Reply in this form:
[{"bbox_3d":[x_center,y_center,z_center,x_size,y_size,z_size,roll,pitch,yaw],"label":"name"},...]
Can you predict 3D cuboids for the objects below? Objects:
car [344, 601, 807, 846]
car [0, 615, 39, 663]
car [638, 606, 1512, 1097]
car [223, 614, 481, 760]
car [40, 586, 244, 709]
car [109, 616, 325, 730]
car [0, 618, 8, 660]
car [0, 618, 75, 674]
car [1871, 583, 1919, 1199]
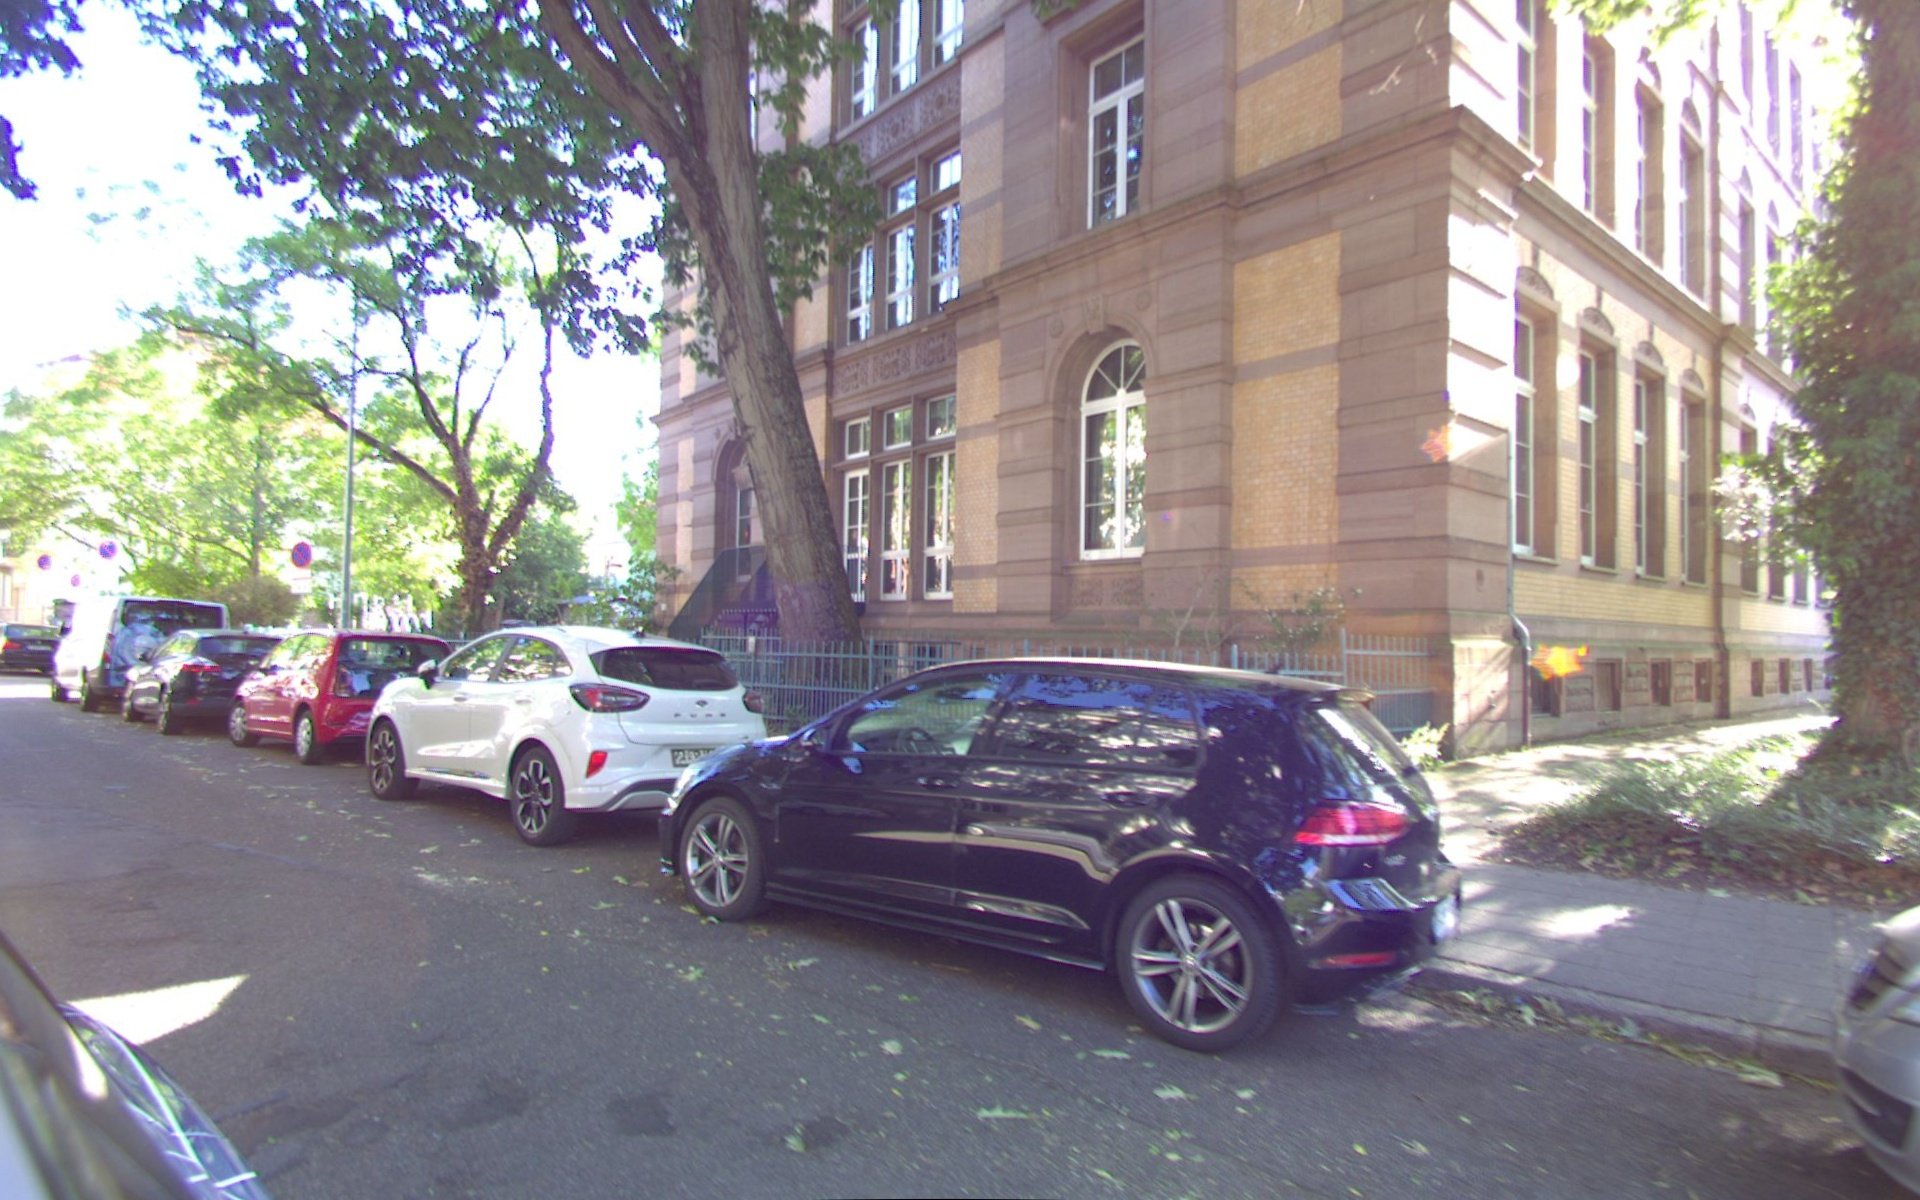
[{"bbox_3d":[-3.308,0.882,8.381,3.997,1.545,1.770,-1,-6,40],"label":"car"},{"bbox_3d":[-30.874,1.212,32.287,3.998,1.484,1.732,-1,-1,41],"label":"car"},{"bbox_3d":[0.381,0.875,5.017,3.991,1.475,1.567,1,-5,35],"label":"car"},{"bbox_3d":[-7.245,0.952,11.969,3.309,1.475,1.603,-1,-4,41],"label":"car"},{"bbox_3d":[-15.154,0.863,18.642,5.040,1.972,1.973,-1,-5,41],"label":"car"},{"bbox_3d":[-11.066,1.018,14.982,3.842,1.475,1.709,-1,-4,41],"label":"car"},{"bbox_3d":[-35.540,1.351,36.157,4.206,1.470,1.765,-1,-3,41],"label":"car"},{"bbox_3d":[-26.098,1.249,28.102,3.998,1.475,1.716,-1,-3,41],"label":"car"},{"bbox_3d":[4.245,0.817,1.710,3.950,1.570,1.688,0,-5,41],"label":"car"}]
